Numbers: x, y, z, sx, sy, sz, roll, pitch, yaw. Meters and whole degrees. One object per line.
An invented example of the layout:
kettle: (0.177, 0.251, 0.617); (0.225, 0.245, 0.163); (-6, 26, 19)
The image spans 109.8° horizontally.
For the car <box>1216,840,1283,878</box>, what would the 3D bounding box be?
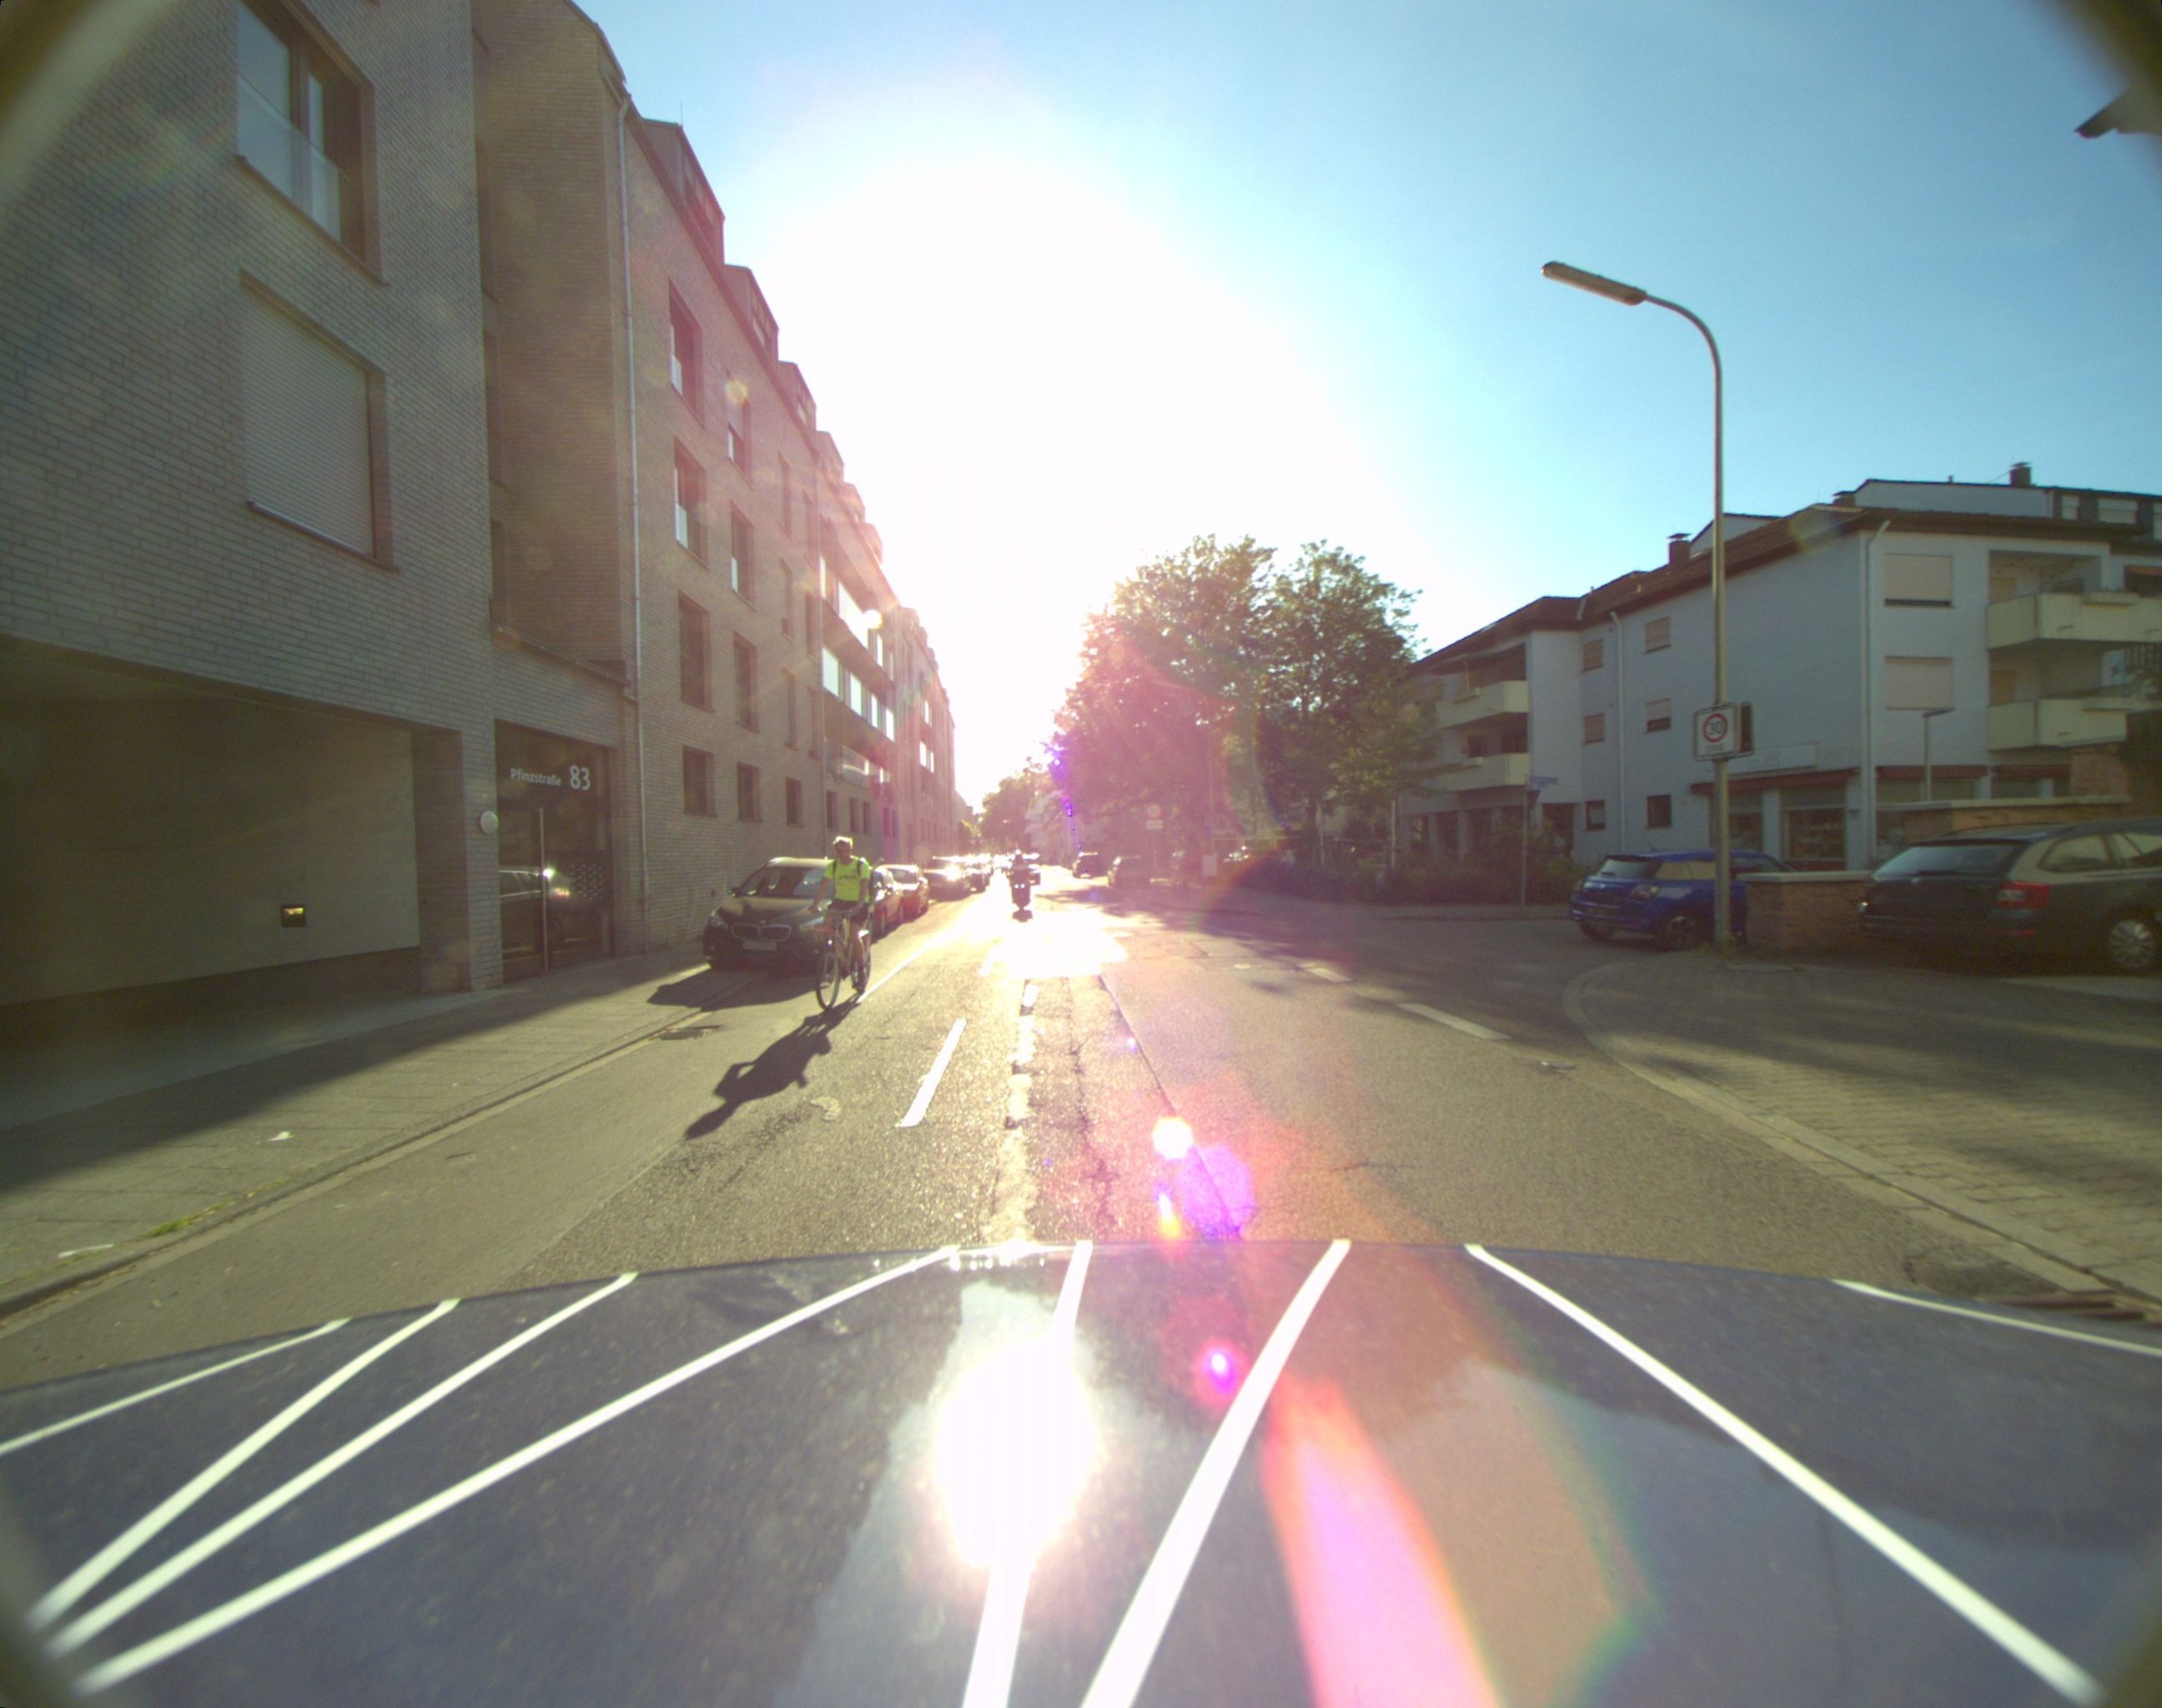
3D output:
car: (8.881, 0.242, 40.405); (1.849, 1.884, 4.902); (-1, 0, -8)

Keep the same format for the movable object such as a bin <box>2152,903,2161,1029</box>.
movable object such as a bin: (7.751, 0.760, 4.988); (0.600, 0.867, 0.606); (-2, 1, -5)

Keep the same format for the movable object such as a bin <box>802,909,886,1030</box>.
movable object such as a bin: (-2.646, 1.239, 8.649); (0.456, 1.027, 1.839); (-4, 2, -5)

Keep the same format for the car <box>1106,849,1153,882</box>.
car: (2.382, 0.552, 38.058); (1.702, 1.483, 3.998); (-2, 0, -5)

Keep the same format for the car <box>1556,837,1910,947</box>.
car: (9.774, 0.529, 11.639); (3.778, 1.521, 2.000); (0, 0, -3)

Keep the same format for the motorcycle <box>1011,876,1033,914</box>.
motorcycle: (-1.735, 1.167, 22.174); (0.599, 1.004, 1.820); (-1, 1, -5)

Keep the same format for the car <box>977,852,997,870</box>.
car: (-8.449, 0.628, 68.306); (1.656, 1.582, 4.339); (1, 0, -8)

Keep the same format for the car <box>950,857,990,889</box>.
car: (-5.637, 0.946, 39.028); (1.822, 1.458, 4.267); (-1, 1, -5)

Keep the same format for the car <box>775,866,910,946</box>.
car: (-5.275, 1.076, 17.440); (1.999, 1.497, 4.365); (-1, 0, -4)

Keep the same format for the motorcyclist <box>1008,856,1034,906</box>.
motorcyclist: (-1.722, 0.765, 21.917); (0.718, 1.424, 0.746); (-1, 1, -5)

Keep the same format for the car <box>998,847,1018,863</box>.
car: (-6.855, 0.071, 71.588); (1.822, 1.458, 4.267); (-1, 1, -5)

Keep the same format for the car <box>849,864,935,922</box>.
car: (-5.438, 1.078, 22.360); (1.717, 1.396, 4.071); (3, 0, -4)

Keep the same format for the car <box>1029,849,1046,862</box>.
car: (-6.385, 0.263, 111.249); (1.999, 1.619, 3.997); (-8, 1, -7)

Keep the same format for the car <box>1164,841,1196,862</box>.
car: (6.927, -0.159, 53.462); (1.525, 1.400, 3.637); (-1, 1, -3)

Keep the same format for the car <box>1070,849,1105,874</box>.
car: (0.429, 0.509, 56.835); (1.937, 1.695, 5.097); (-4, 1, -6)

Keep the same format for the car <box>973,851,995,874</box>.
car: (-8.041, 0.673, 63.075); (1.672, 1.723, 4.835); (-1, 1, -7)

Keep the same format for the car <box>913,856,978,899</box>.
car: (-5.778, 0.976, 33.019); (1.894, 1.702, 4.774); (-1, 0, 1)

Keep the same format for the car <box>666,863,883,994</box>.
car: (-4.629, 1.002, 12.363); (1.999, 1.643, 4.760); (-1, 0, -6)

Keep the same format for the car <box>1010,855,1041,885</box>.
car: (-3.277, 0.893, 44.479); (1.709, 1.570, 3.913); (-2, 1, -5)

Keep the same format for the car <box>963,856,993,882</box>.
car: (-6.417, 0.915, 47.359); (1.702, 1.459, 4.716); (0, 0, -8)

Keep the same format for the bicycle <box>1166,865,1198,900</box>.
bicycle: (3.131, 0.879, 23.801); (0.705, 0.997, 1.941); (-2, 1, 0)

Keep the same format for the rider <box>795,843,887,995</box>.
rider: (-2.671, 0.680, 8.577); (0.655, 1.553, 1.082); (-4, 2, -5)

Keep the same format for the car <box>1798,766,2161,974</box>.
car: (10.680, 0.066, 7.966); (4.375, 1.783, 1.988); (-4, -2, -2)

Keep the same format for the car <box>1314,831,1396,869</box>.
car: (14.799, -0.231, 41.328); (2.025, 1.937, 4.317); (-1, 1, -16)
